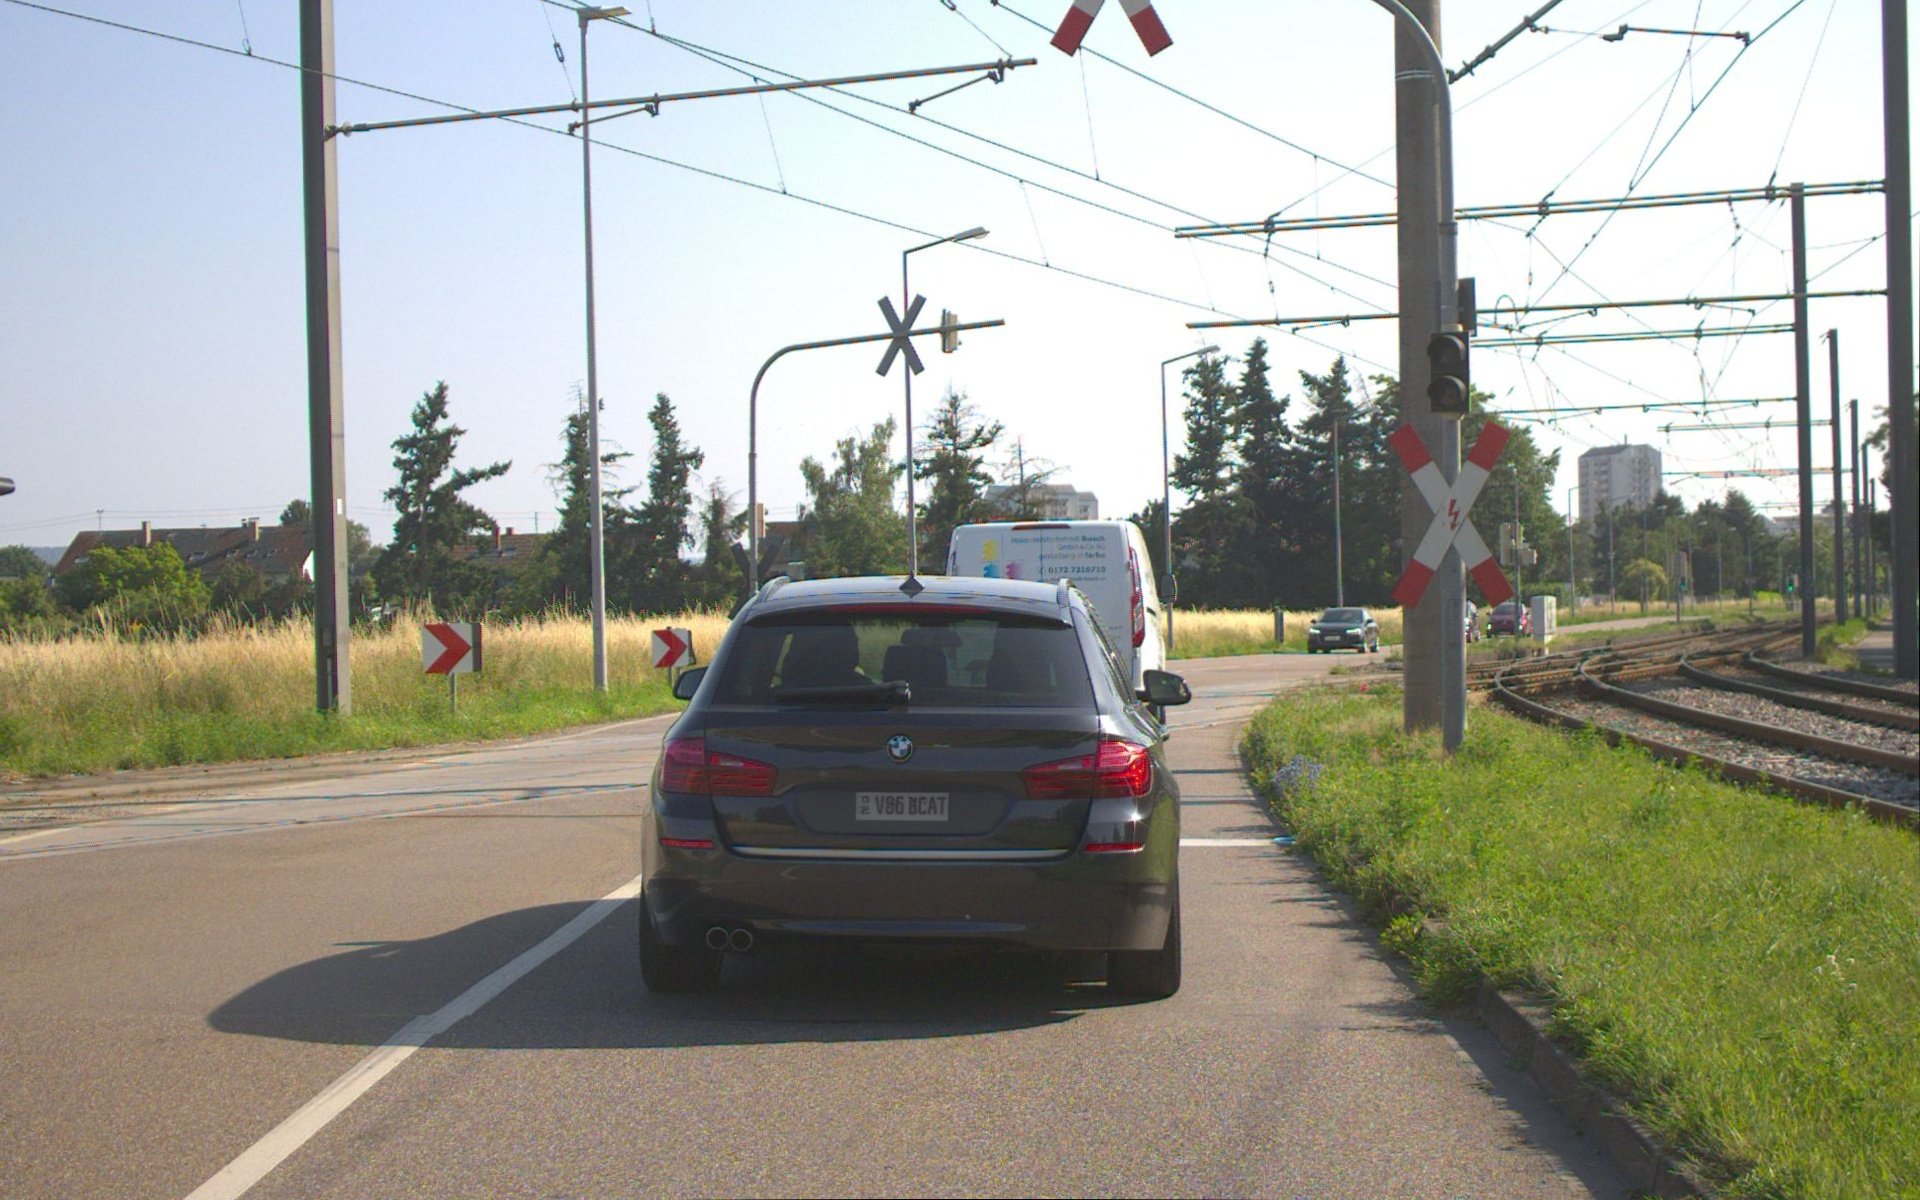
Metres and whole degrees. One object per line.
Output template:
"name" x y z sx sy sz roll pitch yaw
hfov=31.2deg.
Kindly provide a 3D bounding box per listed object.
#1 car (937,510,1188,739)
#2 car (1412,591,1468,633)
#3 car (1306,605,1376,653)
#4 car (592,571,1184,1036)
"car" 1.051 0.201 32.351 1.858 1.981 5.106 0 0 8
"car" 19.379 0.458 138.600 1.707 1.659 4.586 0 0 15
"car" 12.071 0.907 108.761 1.694 1.435 4.281 0 0 13
"car" -0.249 0.623 13.231 1.869 1.447 4.744 0 1 -1
